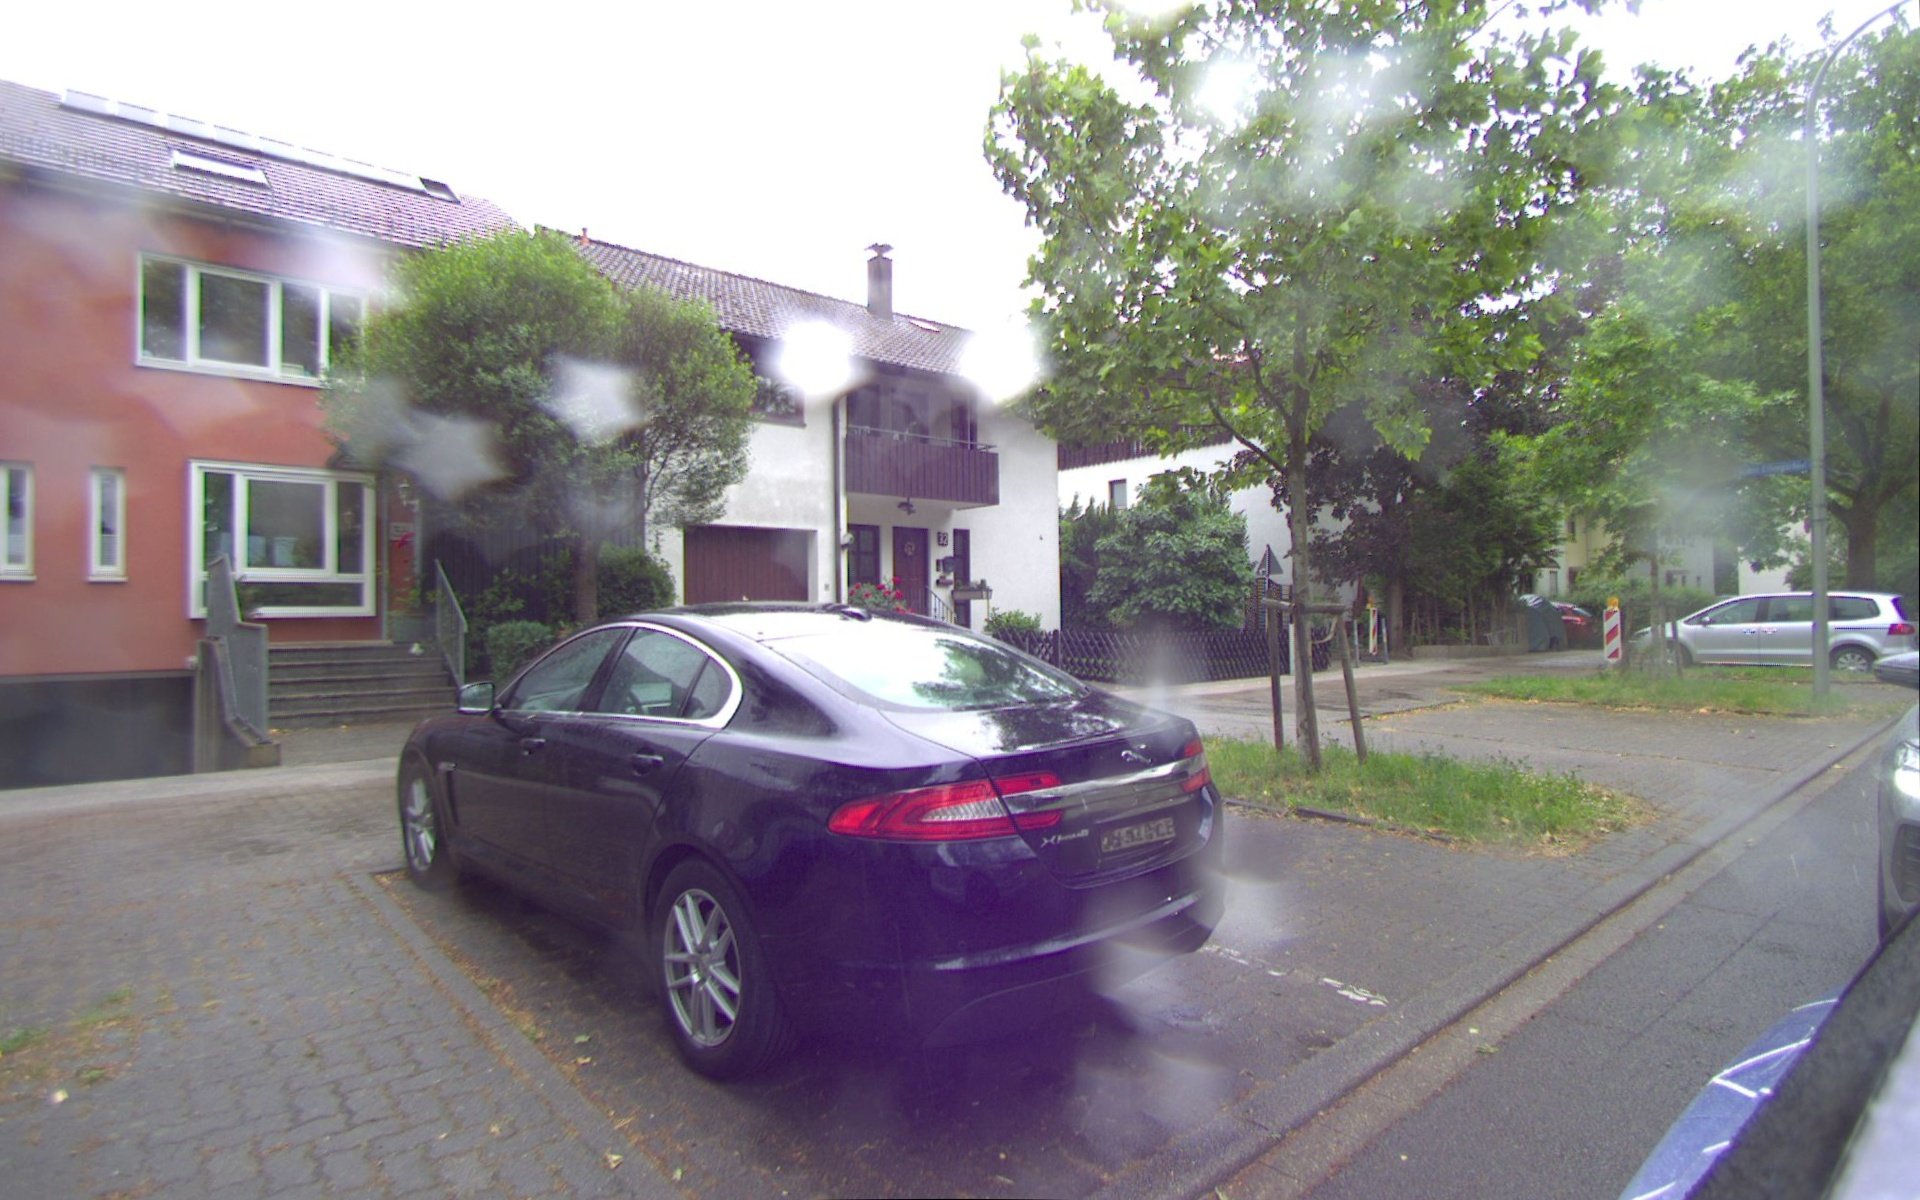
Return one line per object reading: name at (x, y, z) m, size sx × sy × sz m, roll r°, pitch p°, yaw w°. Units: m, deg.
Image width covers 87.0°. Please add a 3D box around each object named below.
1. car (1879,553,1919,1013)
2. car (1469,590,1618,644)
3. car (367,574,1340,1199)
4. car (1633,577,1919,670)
car at (5.595, 0.652, 4.389) m, size 4.346 × 1.638 × 1.861 m, roll 0°, pitch 0°, yaw -41°
car at (19.016, 0.528, 33.111) m, size 1.809 × 1.633 × 3.853 m, roll 0°, pitch 0°, yaw -39°
car at (-0.976, 0.685, 4.648) m, size 1.906 × 1.491 × 4.768 m, roll 0°, pitch 0°, yaw -45°
car at (16.653, 0.433, 20.525) m, size 1.942 × 1.682 × 4.694 m, roll 0°, pitch 0°, yaw -42°
